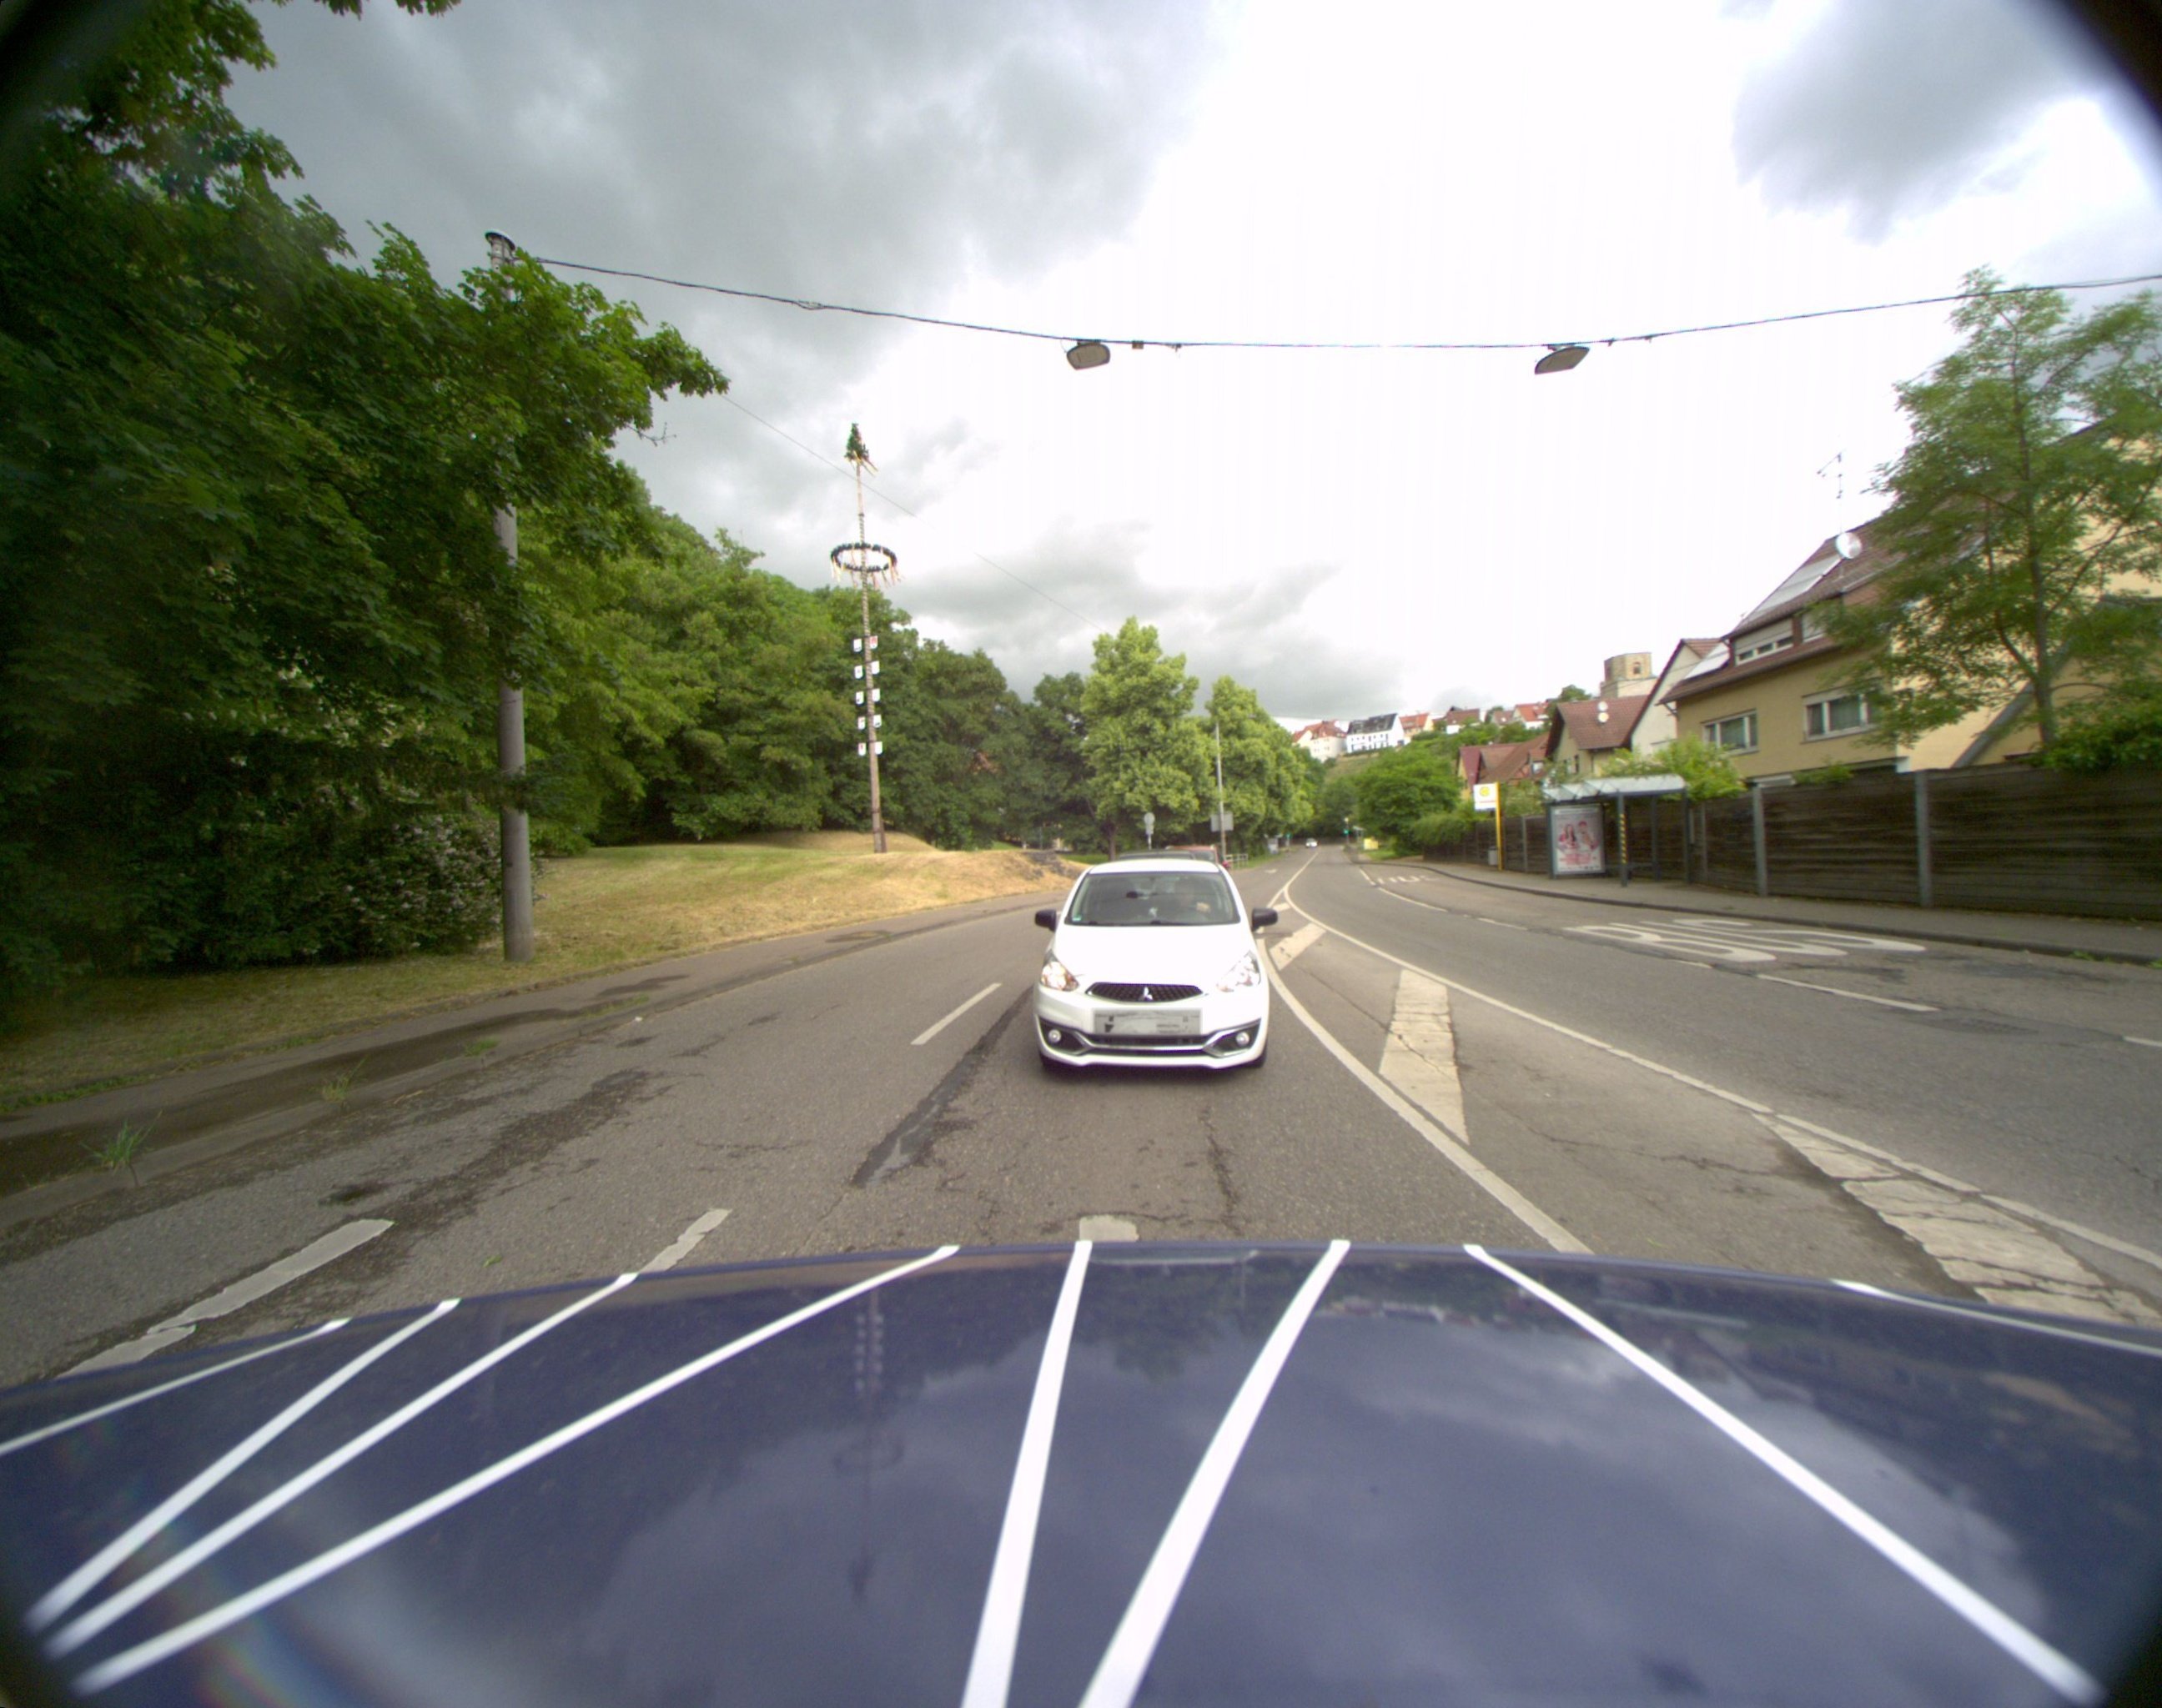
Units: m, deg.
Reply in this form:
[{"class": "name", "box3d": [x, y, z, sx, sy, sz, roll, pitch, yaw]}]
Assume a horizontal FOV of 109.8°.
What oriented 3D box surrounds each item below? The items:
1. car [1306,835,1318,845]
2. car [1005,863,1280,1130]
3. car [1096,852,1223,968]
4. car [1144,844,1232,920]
[{"class": "car", "box3d": [42.156, -2.595, 138.529, 1.844, 1.630, 4.004, -2, 1, 14]}, {"class": "car", "box3d": [0.635, 0.906, 6.432, 1.617, 1.505, 3.607, -2, 1, 9]}, {"class": "car", "box3d": [1.388, 0.791, 12.590, 1.723, 1.539, 3.784, -2, 1, 9]}, {"class": "car", "box3d": [2.852, 0.628, 19.462, 1.826, 1.662, 4.061, -2, 1, 13]}]
